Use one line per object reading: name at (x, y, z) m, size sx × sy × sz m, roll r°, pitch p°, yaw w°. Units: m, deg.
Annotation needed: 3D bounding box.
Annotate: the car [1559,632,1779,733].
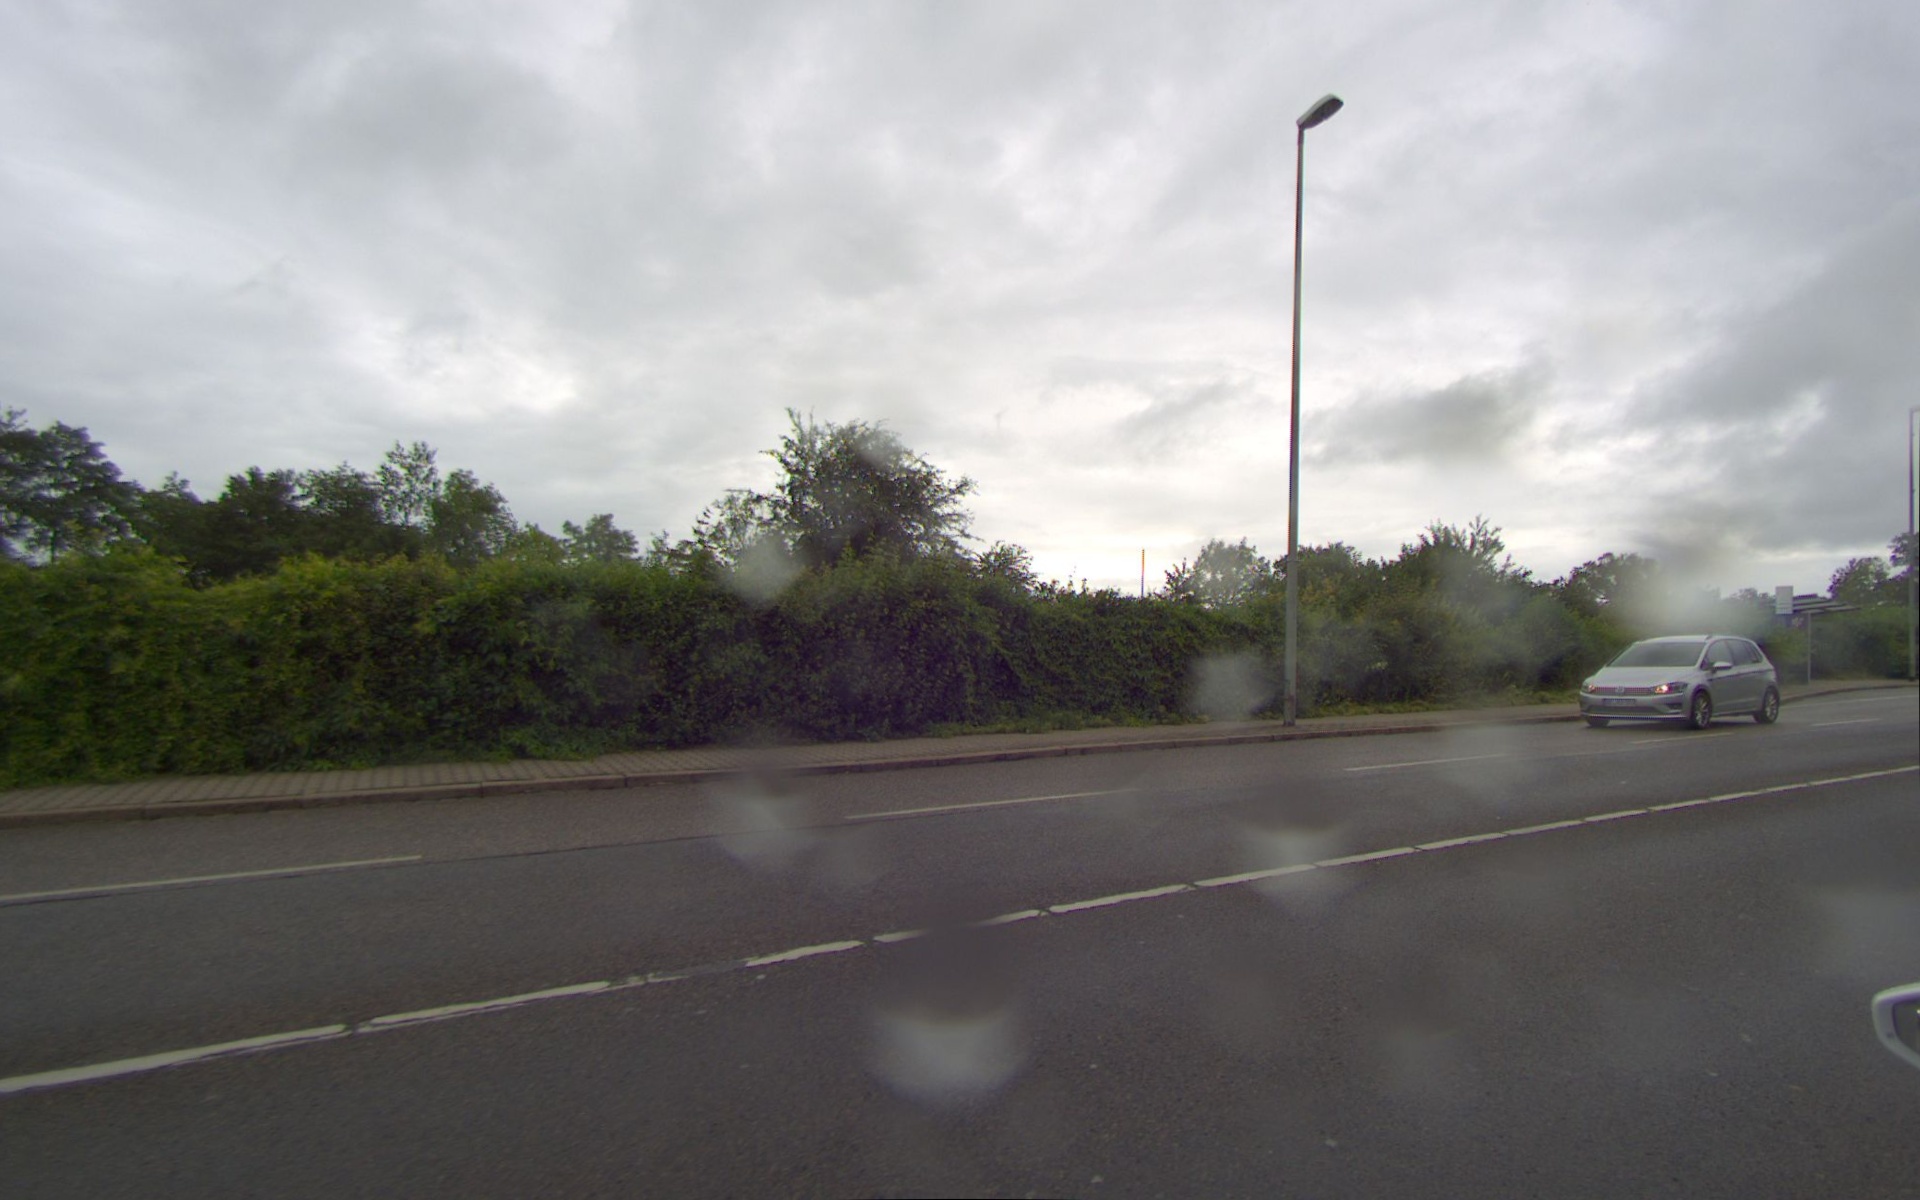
car at (12.496, 1.390, 17.665) m, size 3.956 × 1.589 × 1.747 m, roll 2°, pitch -4°, yaw -32°
